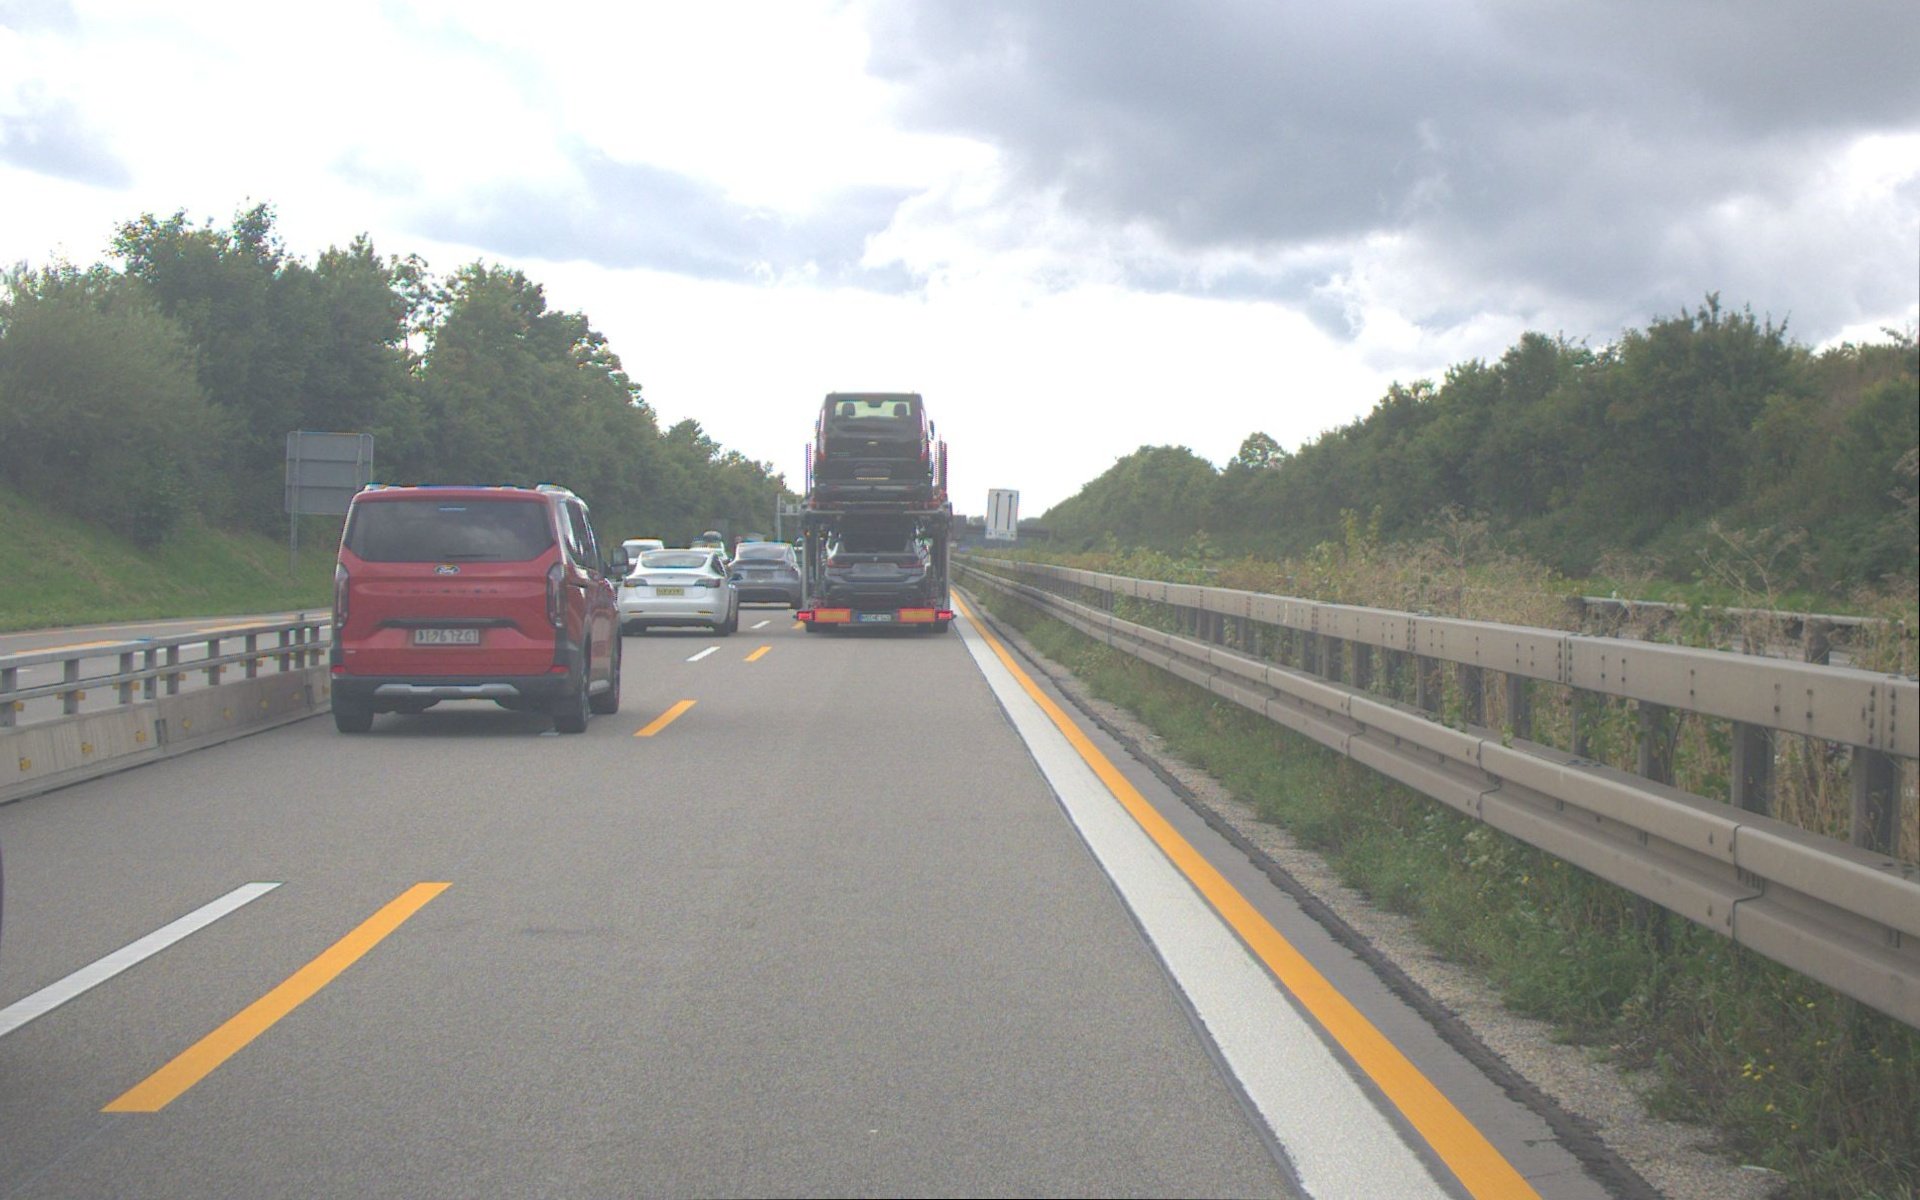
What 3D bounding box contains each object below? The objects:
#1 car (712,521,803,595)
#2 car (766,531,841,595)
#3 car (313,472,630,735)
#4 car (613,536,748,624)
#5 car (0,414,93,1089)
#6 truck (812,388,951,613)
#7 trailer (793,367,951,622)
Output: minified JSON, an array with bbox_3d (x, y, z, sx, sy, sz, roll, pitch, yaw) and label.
[{"bbox_3d":[-4.866,-1.033,83.266,2.031,1.751,4.578,0,1,-1],"label":"car"},{"bbox_3d":[-4.429,-1.069,97.770,2.031,1.751,4.578,0,1,-2],"label":"car"},{"bbox_3d":[-3.949,-0.014,28.563,2.031,2.007,4.578,0,1,-1],"label":"car"},{"bbox_3d":[-4.685,-0.367,58.189,2.031,1.426,4.578,0,1,-1],"label":"car"},{"bbox_3d":[-3.591,0.448,7.568,1.993,1.836,5.610,0,1,-1],"label":"car"},{"bbox_3d":[-1.448,-1.867,65.688,2.515,4.091,5.685,0,1,0],"label":"truck"},{"bbox_3d":[-1.431,-1.791,60.875,2.515,4.091,11.114,0,1,0],"label":"trailer"}]
